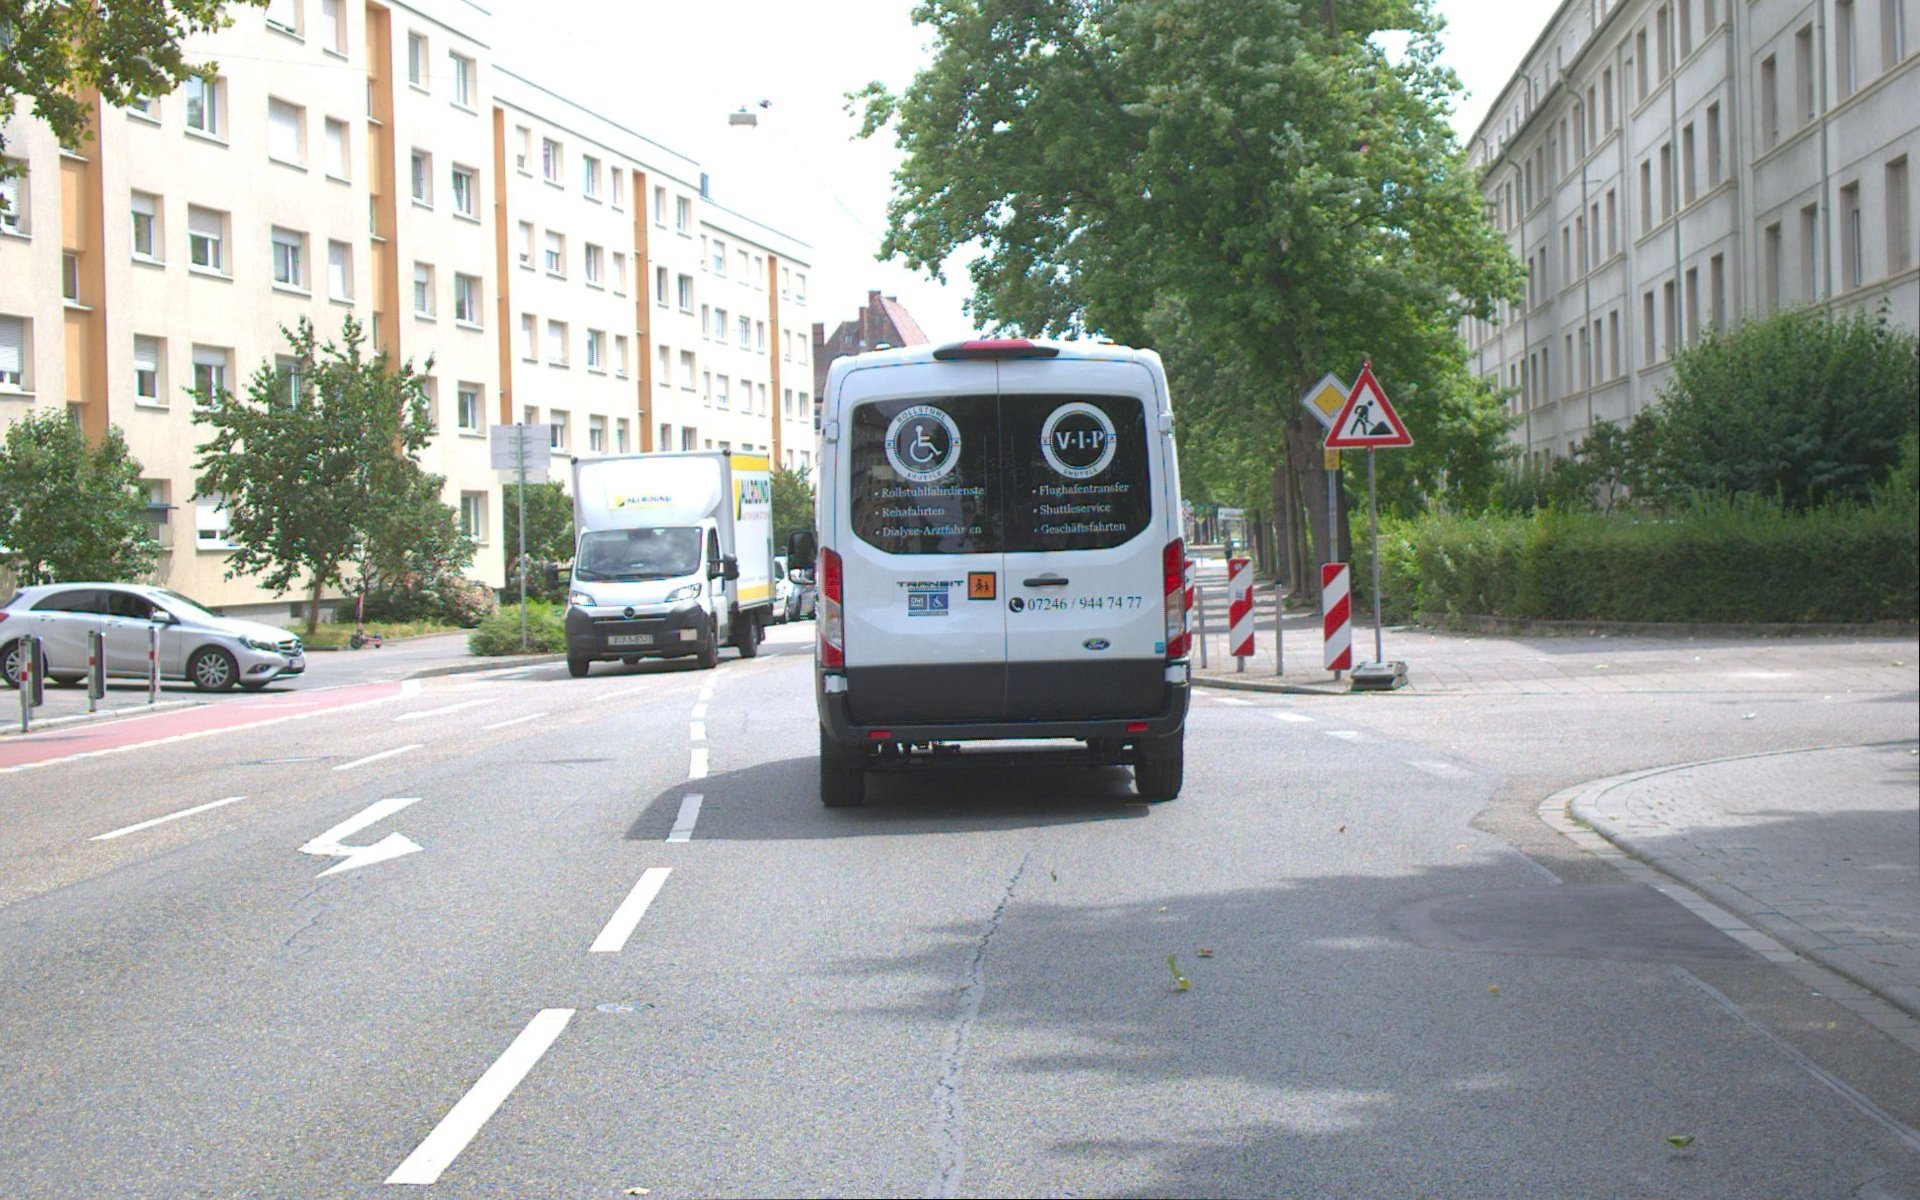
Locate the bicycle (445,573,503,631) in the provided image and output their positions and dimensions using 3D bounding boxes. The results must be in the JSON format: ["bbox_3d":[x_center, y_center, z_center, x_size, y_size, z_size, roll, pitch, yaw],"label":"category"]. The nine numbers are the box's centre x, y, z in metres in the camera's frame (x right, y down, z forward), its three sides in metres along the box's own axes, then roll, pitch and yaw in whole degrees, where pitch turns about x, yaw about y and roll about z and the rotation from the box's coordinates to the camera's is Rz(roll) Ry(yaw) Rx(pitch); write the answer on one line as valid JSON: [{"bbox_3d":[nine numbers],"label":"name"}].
[{"bbox_3d":[-11.073,0.036,78.358,0.579,1.247,1.932,-1,2,15],"label":"bicycle"}]

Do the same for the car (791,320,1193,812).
[{"bbox_3d":[0.262,-0.212,20.080,2.070,2.531,4.634,0,1,3],"label":"car"}]

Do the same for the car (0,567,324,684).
[{"bbox_3d":[-11.029,0.325,47.098,4.172,1.445,1.849,2,1,6],"label":"car"}]

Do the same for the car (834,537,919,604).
[{"bbox_3d":[-2.011,-0.740,83.727,1.697,1.513,4.000,-2,1,3],"label":"car"}]

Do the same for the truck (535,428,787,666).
[{"bbox_3d":[-4.245,-0.784,50.275,2.541,3.097,7.020,-3,1,3],"label":"truck"}]
